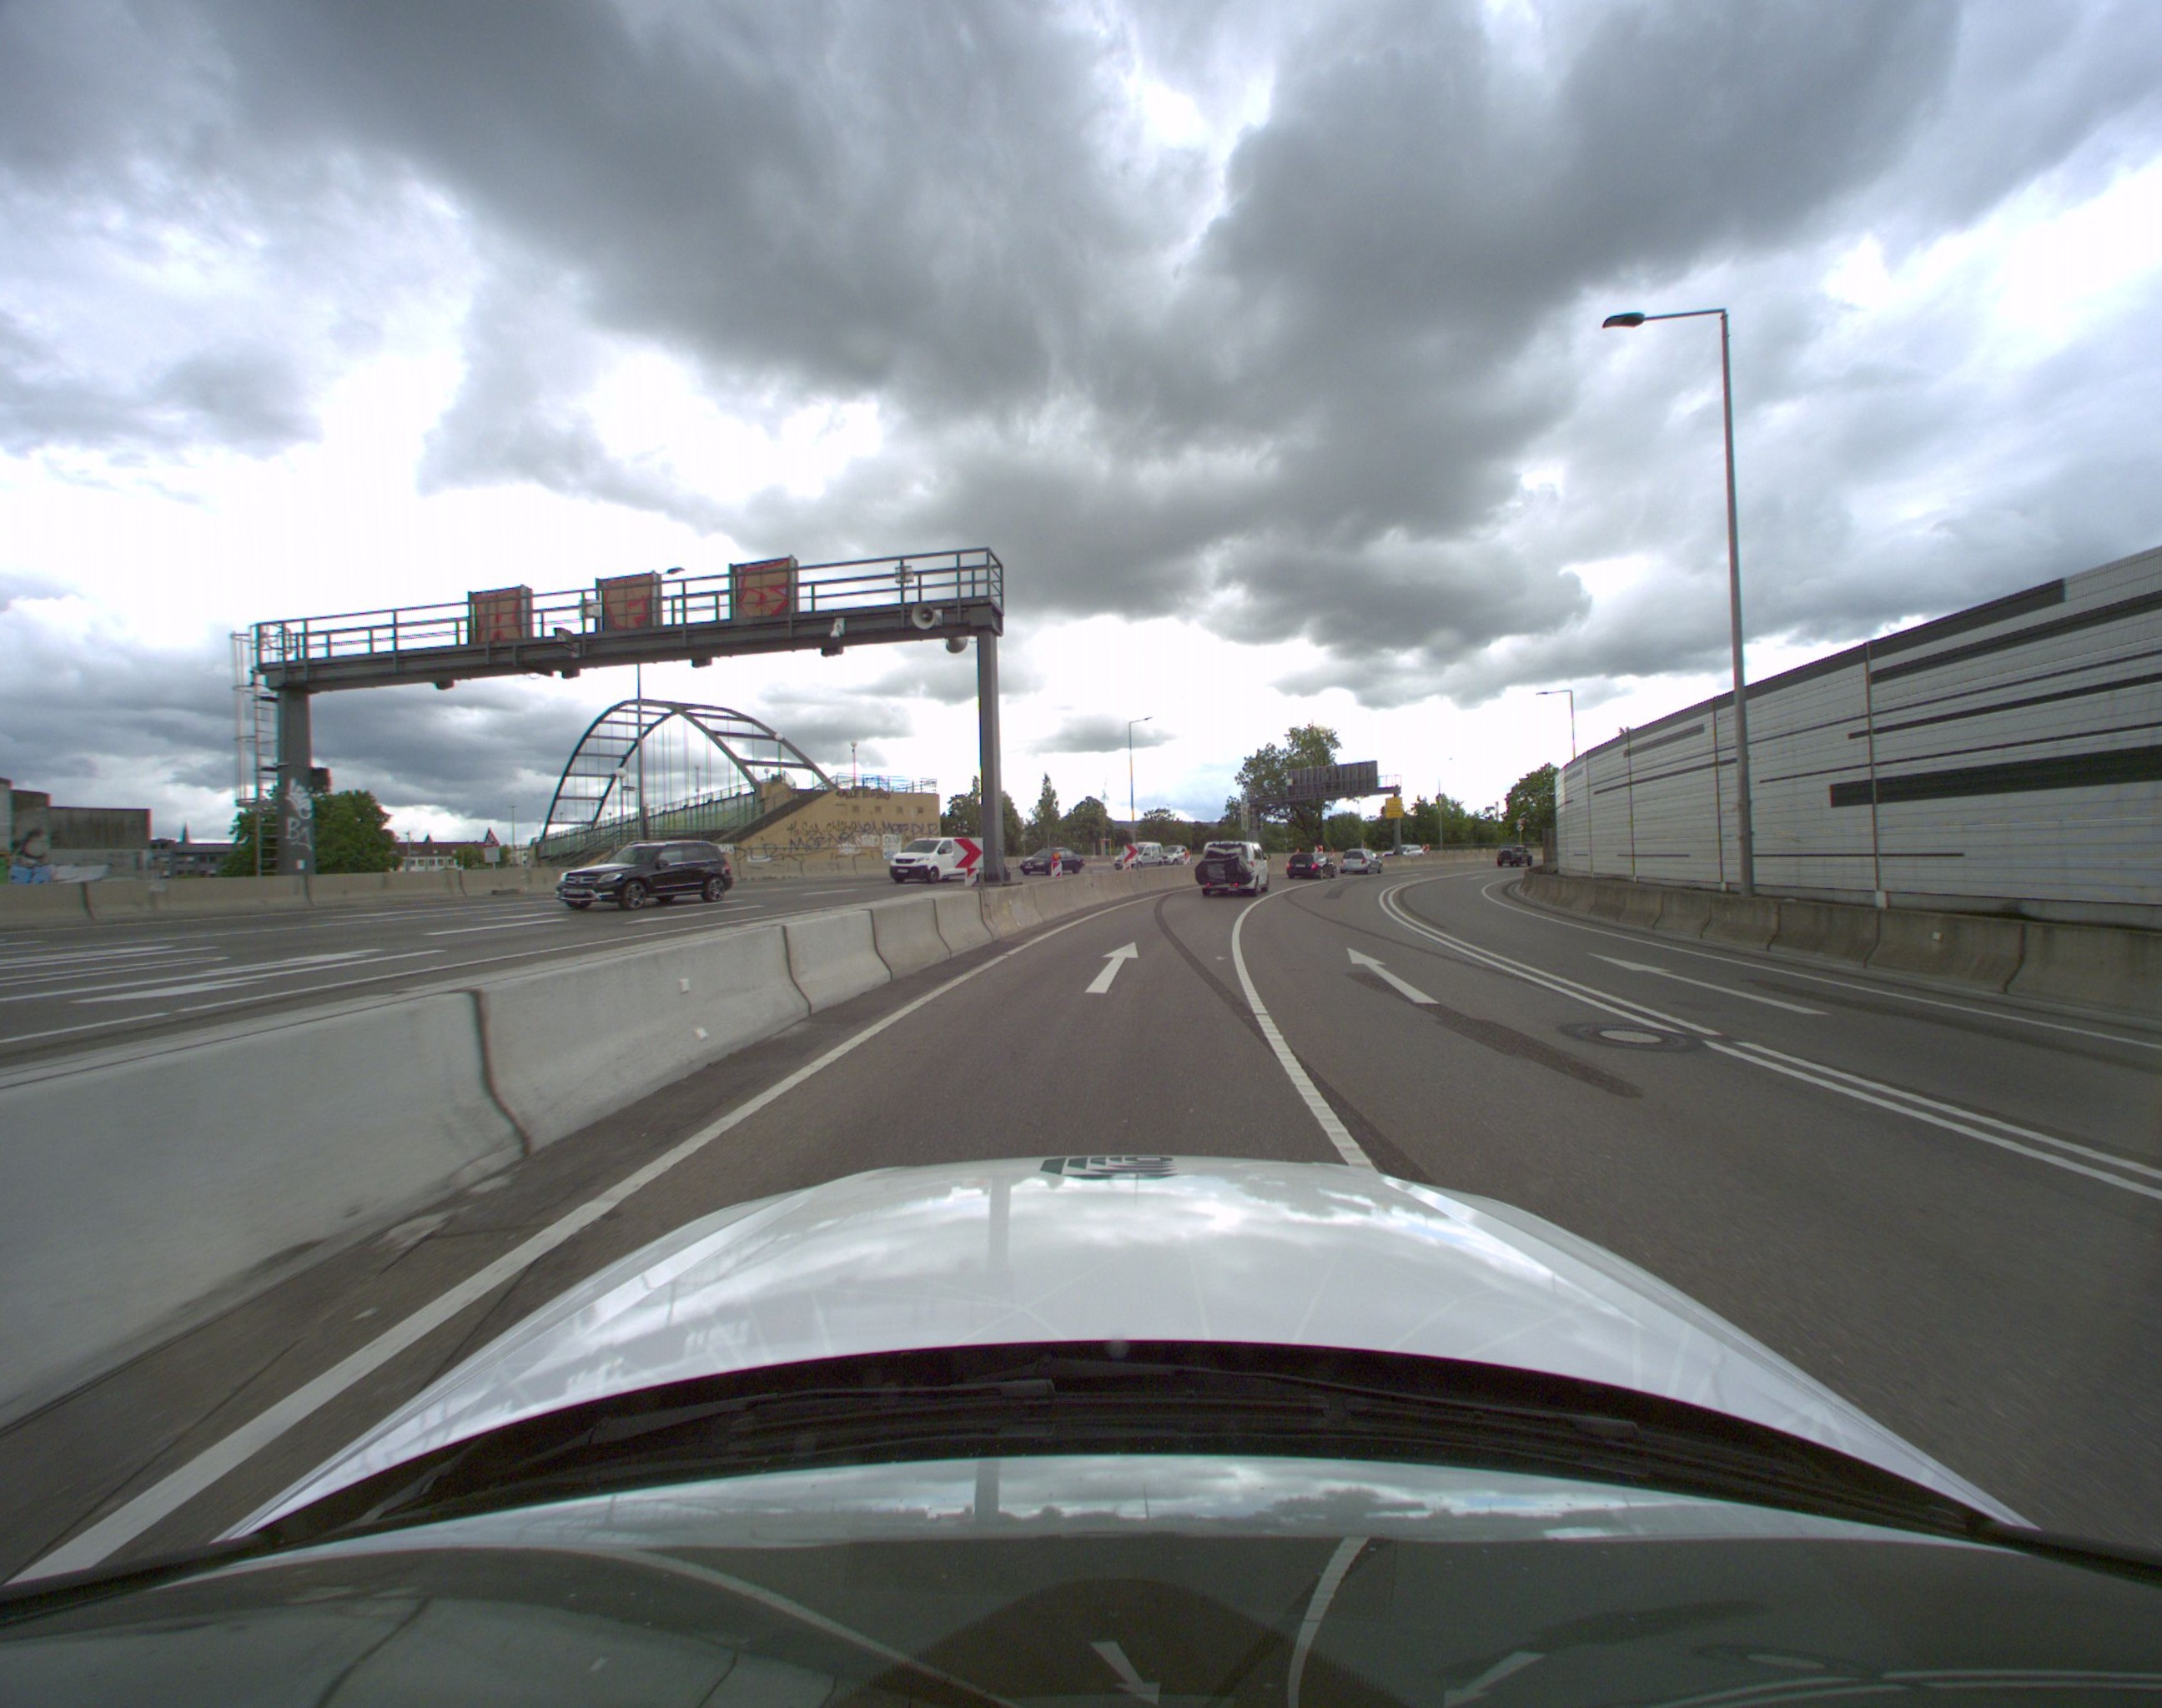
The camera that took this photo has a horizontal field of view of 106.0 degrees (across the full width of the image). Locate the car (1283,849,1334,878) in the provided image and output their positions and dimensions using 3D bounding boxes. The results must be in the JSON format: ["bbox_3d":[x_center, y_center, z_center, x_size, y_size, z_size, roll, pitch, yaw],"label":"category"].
[{"bbox_3d":[12.295,0.505,43.889,1.798,1.434,4.090,-2,-1,27],"label":"car"}]

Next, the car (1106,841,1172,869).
[{"bbox_3d":[3.683,0.030,51.447,1.974,1.686,4.286,0,0,41],"label":"car"}]

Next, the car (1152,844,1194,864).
[{"bbox_3d":[6.939,-0.031,61.389,2.957,1.475,1.611,0,0,-43],"label":"car"}]

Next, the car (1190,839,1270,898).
[{"bbox_3d":[5.380,0.440,28.739,1.977,1.859,5.668,0,0,19],"label":"car"}]

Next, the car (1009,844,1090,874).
[{"bbox_3d":[-1.654,0.250,44.135,1.974,1.488,4.617,0,0,35],"label":"car"}]

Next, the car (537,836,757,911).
[{"bbox_3d":[-10.974,0.437,21.082,1.977,1.695,4.952,0,0,20],"label":"car"}]

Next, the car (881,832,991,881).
[{"bbox_3d":[-6.147,0.097,35.181,2.217,1.951,5.133,-1,0,23],"label":"car"}]

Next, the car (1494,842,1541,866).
[{"bbox_3d":[34.824,-0.005,64.891,4.021,1.860,1.976,0,-1,-41],"label":"car"}]

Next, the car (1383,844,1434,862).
[{"bbox_3d":[29.148,-0.130,72.417,5.169,1.552,2.080,-1,1,-40],"label":"car"}]

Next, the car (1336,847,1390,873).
[{"bbox_3d":[17.836,0.358,51.478,1.902,1.488,4.091,-1,0,39],"label":"car"}]
